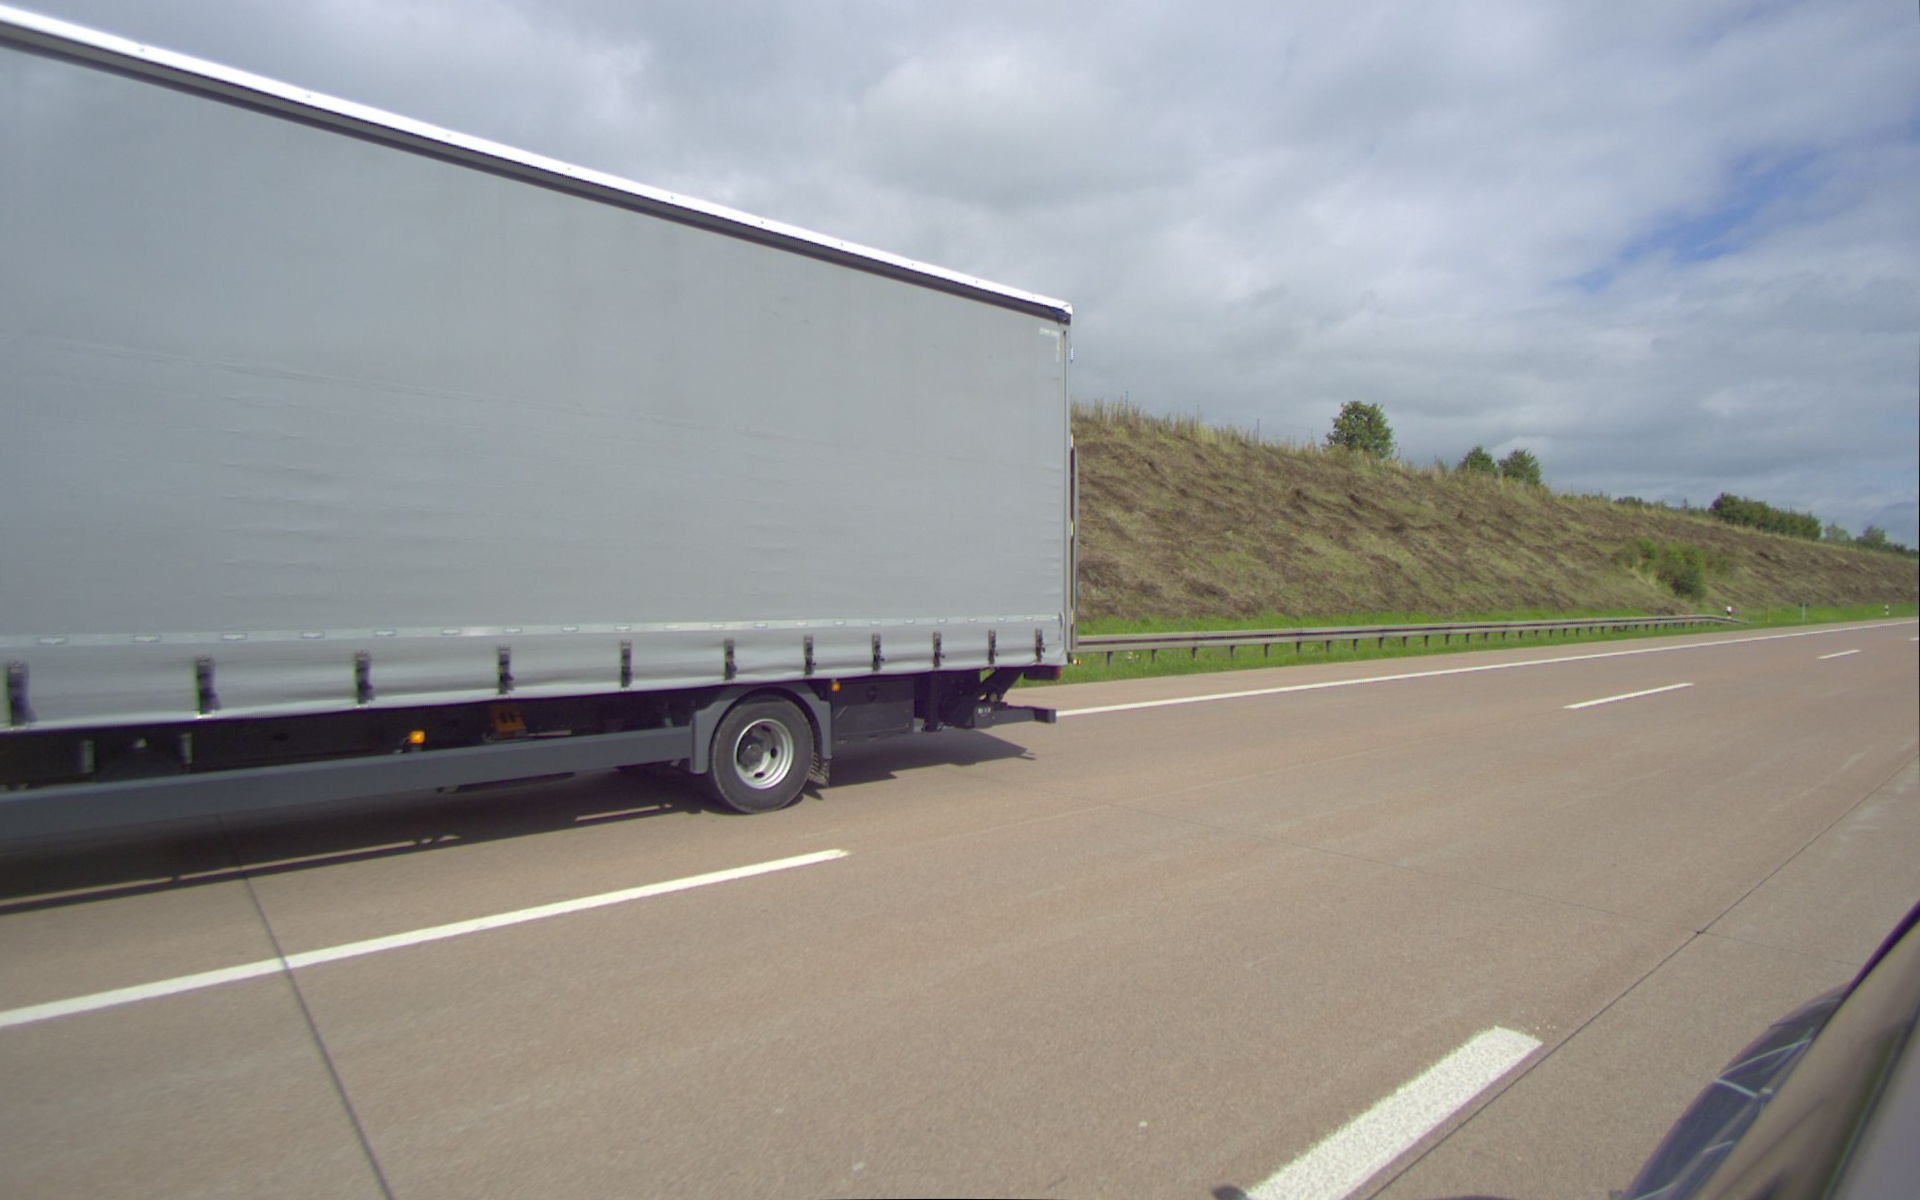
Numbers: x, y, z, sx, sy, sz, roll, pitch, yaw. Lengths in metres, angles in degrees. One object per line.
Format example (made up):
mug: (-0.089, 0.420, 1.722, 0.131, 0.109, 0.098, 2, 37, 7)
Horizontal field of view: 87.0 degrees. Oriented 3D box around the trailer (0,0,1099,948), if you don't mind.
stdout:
trailer: (-2.861, -0.661, 6.831, 8.523, 4.063, 2.751, 0, 0, -43)
